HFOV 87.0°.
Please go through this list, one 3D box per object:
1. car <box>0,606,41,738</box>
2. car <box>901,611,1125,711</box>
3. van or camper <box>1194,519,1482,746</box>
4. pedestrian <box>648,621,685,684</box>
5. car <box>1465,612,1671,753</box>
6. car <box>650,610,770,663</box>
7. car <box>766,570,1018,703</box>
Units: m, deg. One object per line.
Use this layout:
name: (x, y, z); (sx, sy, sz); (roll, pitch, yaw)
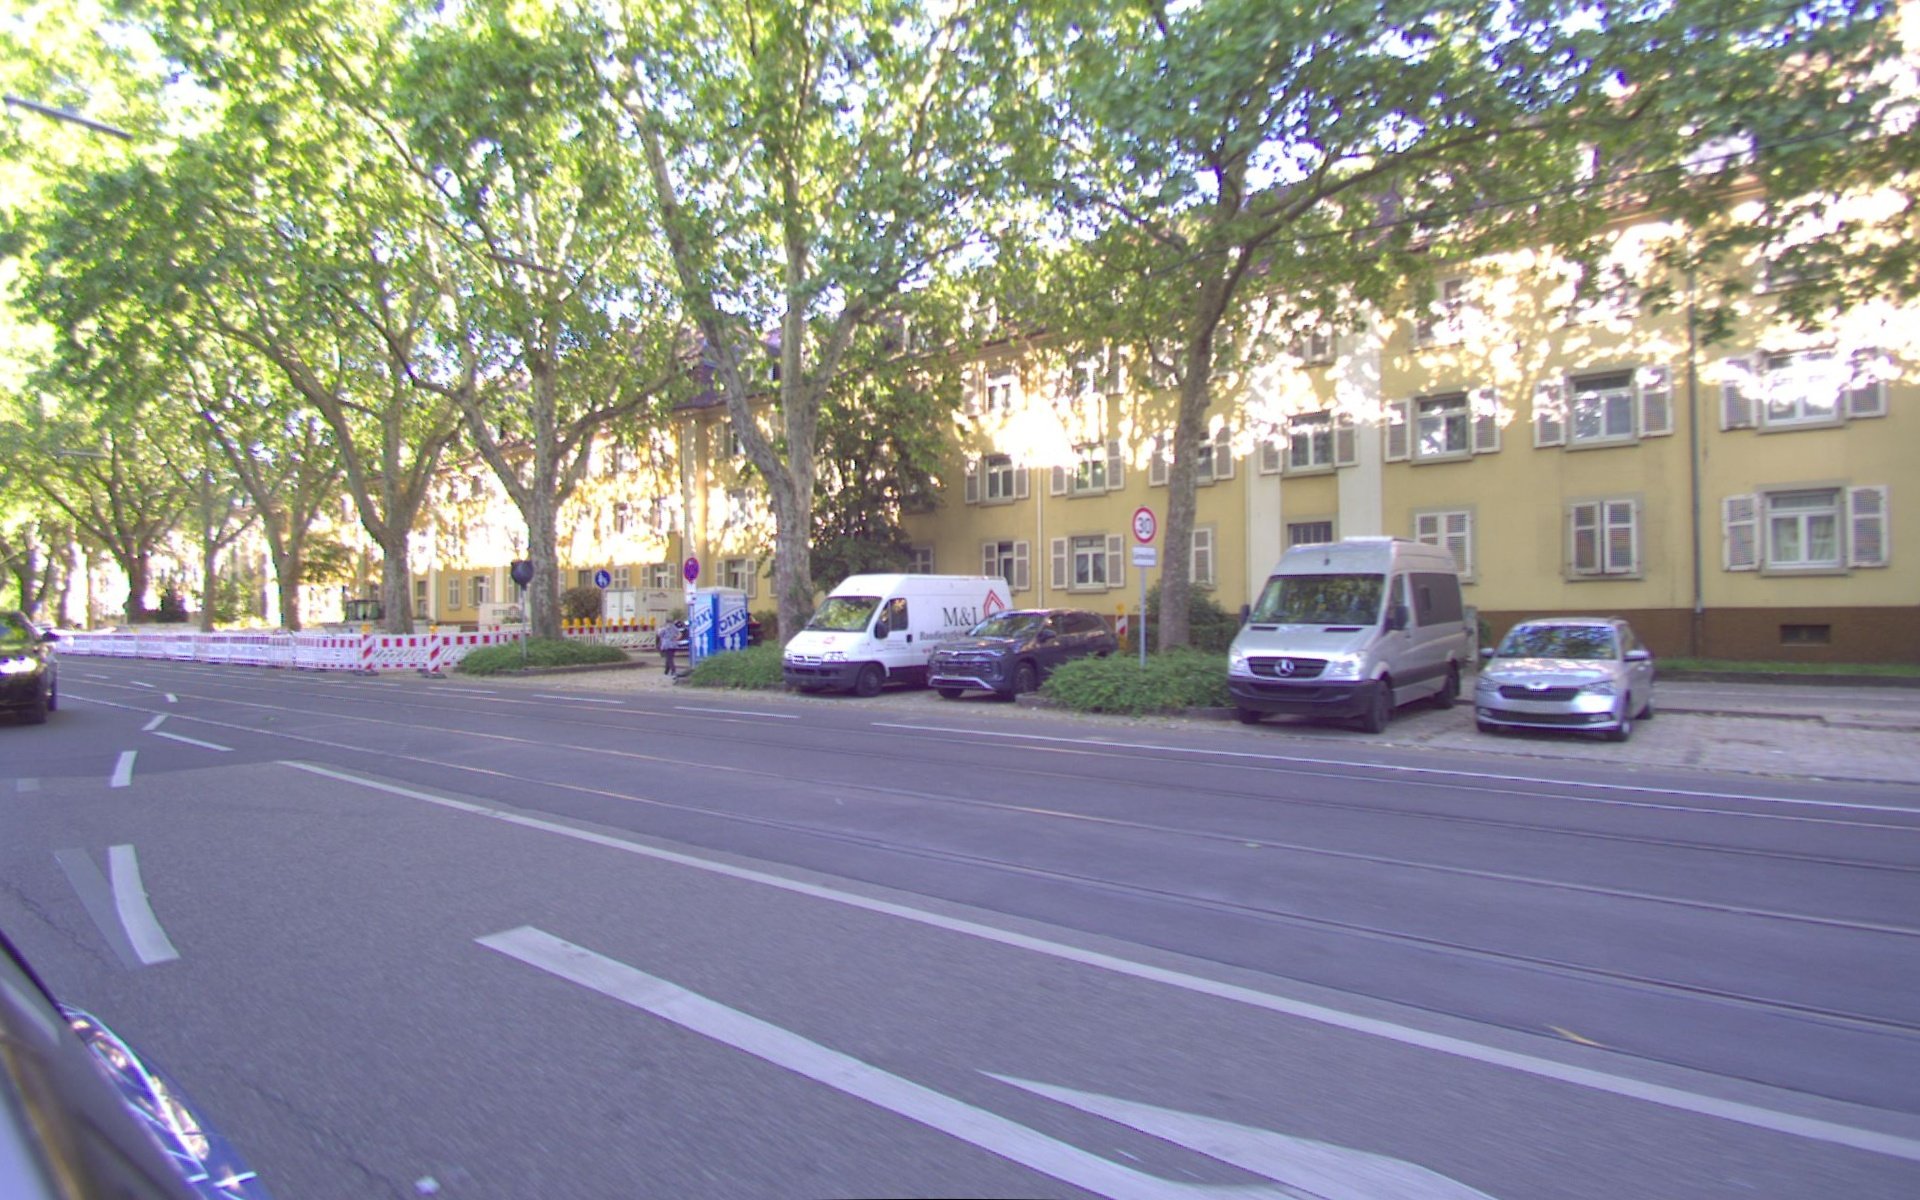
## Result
car: (-14.818, 1.026, 14.833); (1.914, 1.756, 4.481); (-1, -1, -41)
car: (1.128, 1.048, 19.029); (1.967, 1.643, 4.519); (-2, -2, 38)
van or camper: (5.884, 0.399, 15.126); (2.227, 2.697, 6.051); (-2, -1, 39)
pedestrian: (-7.559, 1.340, 26.035); (0.714, 1.585, 0.590); (-1, -2, 31)
car: (8.228, 0.950, 13.530); (1.729, 1.481, 4.102); (0, 1, 40)
car: (-8.400, 1.203, 33.817); (4.219, 1.613, 1.806); (-2, 0, 41)
car: (-1.216, 0.716, 20.959); (2.023, 2.394, 5.542); (-2, -2, 39)
